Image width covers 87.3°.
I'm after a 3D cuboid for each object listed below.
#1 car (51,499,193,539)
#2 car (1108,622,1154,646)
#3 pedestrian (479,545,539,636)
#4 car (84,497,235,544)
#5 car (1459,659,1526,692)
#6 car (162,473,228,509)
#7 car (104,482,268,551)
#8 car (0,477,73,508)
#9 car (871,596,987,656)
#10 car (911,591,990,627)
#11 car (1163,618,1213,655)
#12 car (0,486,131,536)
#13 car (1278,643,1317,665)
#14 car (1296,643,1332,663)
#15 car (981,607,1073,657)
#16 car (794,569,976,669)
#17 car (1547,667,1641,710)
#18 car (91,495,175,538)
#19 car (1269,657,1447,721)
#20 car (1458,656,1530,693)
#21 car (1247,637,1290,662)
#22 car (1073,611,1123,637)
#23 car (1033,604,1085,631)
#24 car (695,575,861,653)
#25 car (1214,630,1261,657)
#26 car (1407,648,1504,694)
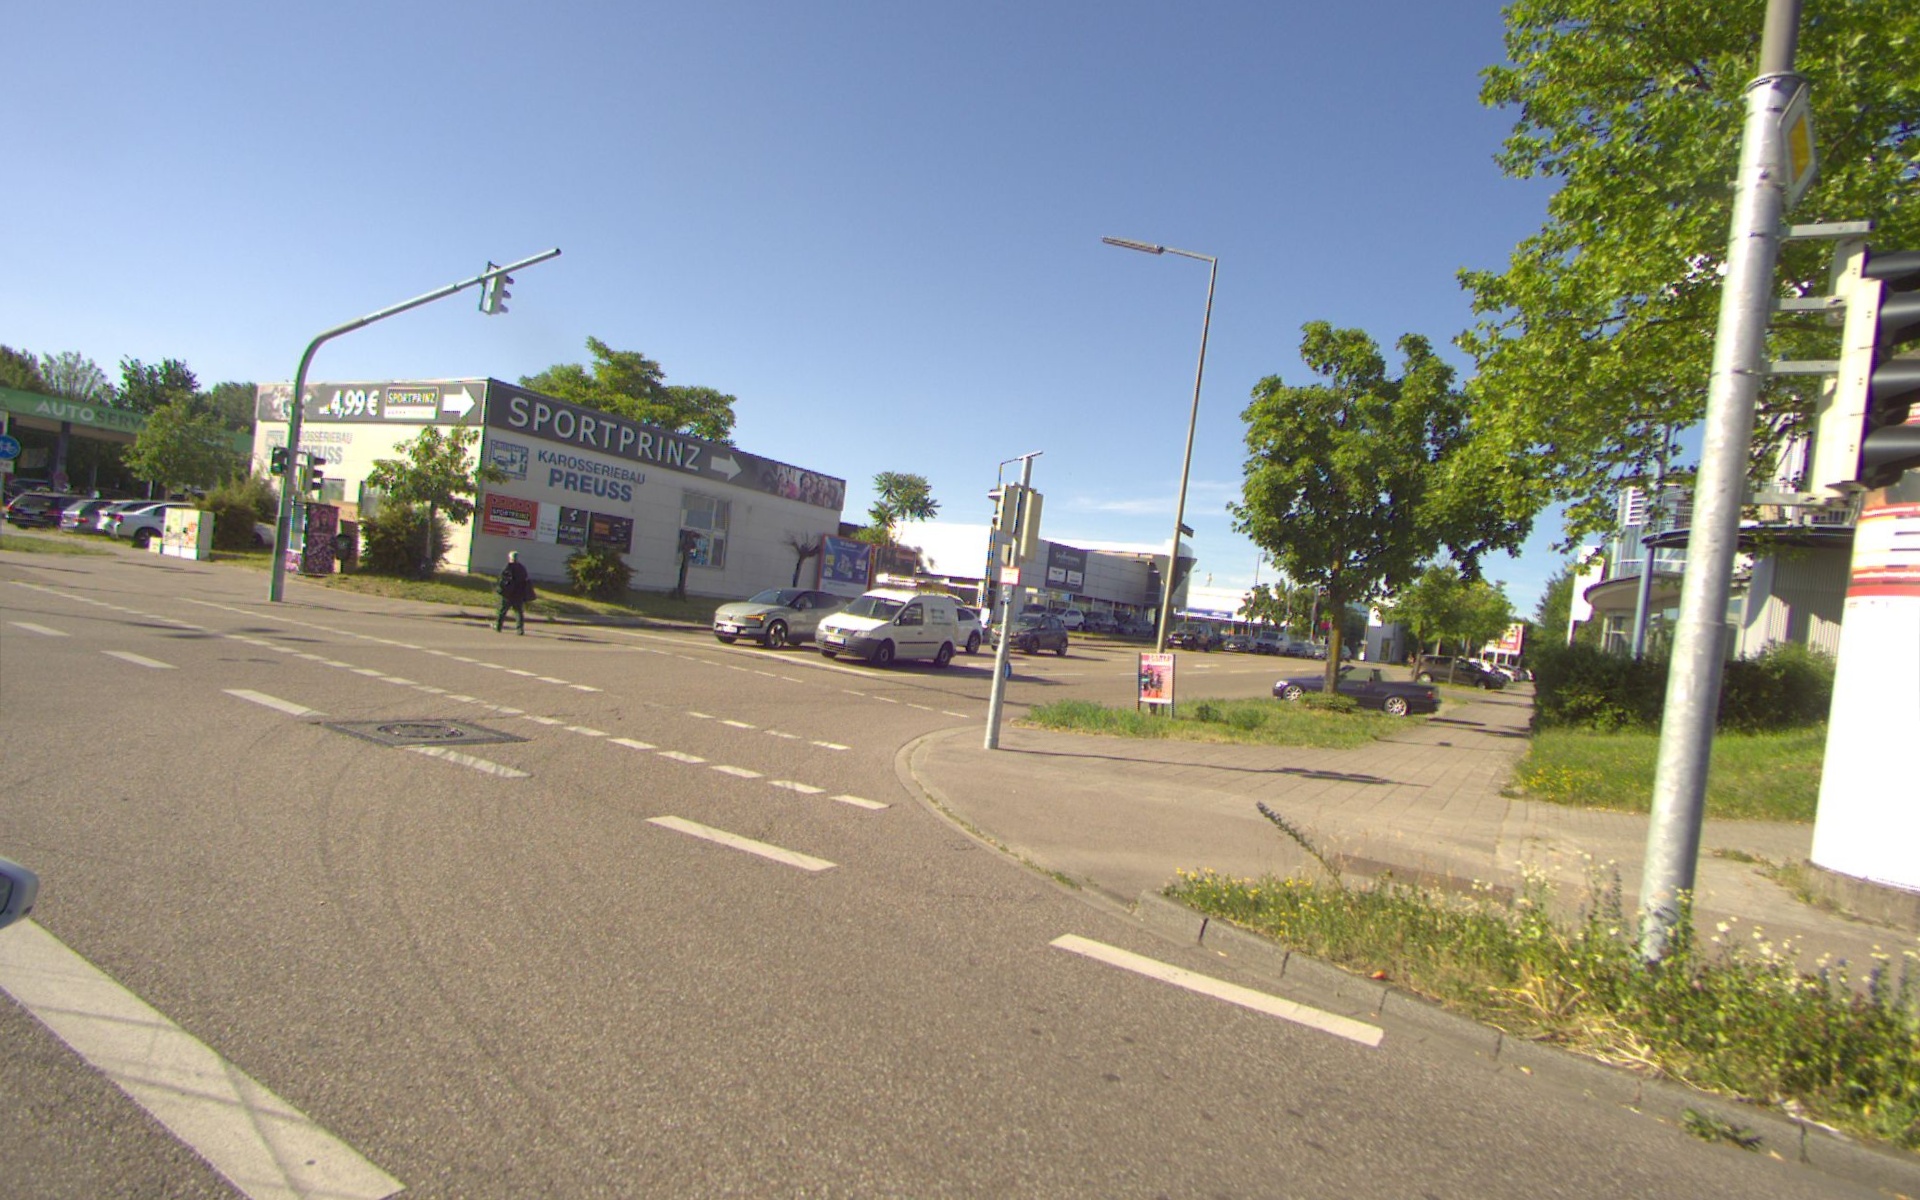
[{"bbox_3d":[-30.522,-2.933,36.739,1.811,1.310,3.599,6,6,32],"label":"car"},{"bbox_3d":[12.955,2.587,76.229,1.754,1.379,3.991,6,-3,36],"label":"car"},{"bbox_3d":[-9.189,-0.188,20.504,0.607,1.737,0.758,7,1,31],"label":"pedestrian"},{"bbox_3d":[-27.956,-2.771,35.225,1.701,1.474,3.902,7,7,42],"label":"car"},{"bbox_3d":[41.096,5.826,77.630,4.289,2.008,1.719,6,-1,31],"label":"car"},{"bbox_3d":[-45.842,-6.546,60.281,3.716,1.777,1.920,6,0,32],"label":"car"},{"bbox_3d":[-25.302,-2.724,33.075,3.945,2.044,1.673,0,7,-26],"label":"car"},{"bbox_3d":[-62.429,-7.250,67.495,1.706,1.551,4.038,6,1,33],"label":"car"},{"bbox_3d":[-0.921,0.873,32.430,1.779,1.609,3.922,5,-1,32],"label":"car"},{"bbox_3d":[-0.544,0.494,56.321,3.935,1.503,1.779,6,-2,33],"label":"car"},{"bbox_3d":[15.020,2.432,66.205,1.710,1.991,3.992,6,-2,34],"label":"car"},{"bbox_3d":[-34.345,-3.367,38.702,1.870,1.551,4.818,5,2,-15],"label":"car"},{"bbox_3d":[30.208,4.848,89.957,1.970,1.618,3.986,7,-1,37],"label":"car"},{"bbox_3d":[33.544,5.025,95.230,1.970,1.619,3.985,6,0,37],"label":"car"},{"bbox_3d":[2.602,1.264,38.395,1.779,1.609,3.922,5,-1,32],"label":"car"},{"bbox_3d":[-1.693,0.541,24.451,1.841,1.957,4.687,6,-1,32],"label":"car"},{"bbox_3d":[35.943,5.004,57.178,4.289,1.858,1.719,6,0,31],"label":"car"},{"bbox_3d":[-42.014,-4.229,51.099,3.933,1.666,1.998,6,-2,31],"label":"car"},{"bbox_3d":[10.917,2.418,27.655,4.288,1.137,1.720,6,-1,30],"label":"car"},{"bbox_3d":[38.041,5.272,71.708,4.289,2.044,1.719,7,0,31],"label":"car"},{"bbox_3d":[25.350,4.093,82.582,1.970,1.618,3.986,7,-1,37],"label":"car"},{"bbox_3d":[9.898,1.722,71.822,1.754,1.379,3.991,6,-3,36],"label":"car"},{"bbox_3d":[6.718,1.171,67.916,1.778,1.401,3.923,6,-1,32],"label":"car"},{"bbox_3d":[-4.605,0.401,26.036,1.871,1.665,4.094,5,-1,32],"label":"car"},{"bbox_3d":[20.990,3.316,76.101,1.970,1.663,3.985,6,0,37],"label":"car"},{"bbox_3d":[25.971,3.701,52.730,4.289,1.858,1.719,6,-1,31],"label":"car"}]
